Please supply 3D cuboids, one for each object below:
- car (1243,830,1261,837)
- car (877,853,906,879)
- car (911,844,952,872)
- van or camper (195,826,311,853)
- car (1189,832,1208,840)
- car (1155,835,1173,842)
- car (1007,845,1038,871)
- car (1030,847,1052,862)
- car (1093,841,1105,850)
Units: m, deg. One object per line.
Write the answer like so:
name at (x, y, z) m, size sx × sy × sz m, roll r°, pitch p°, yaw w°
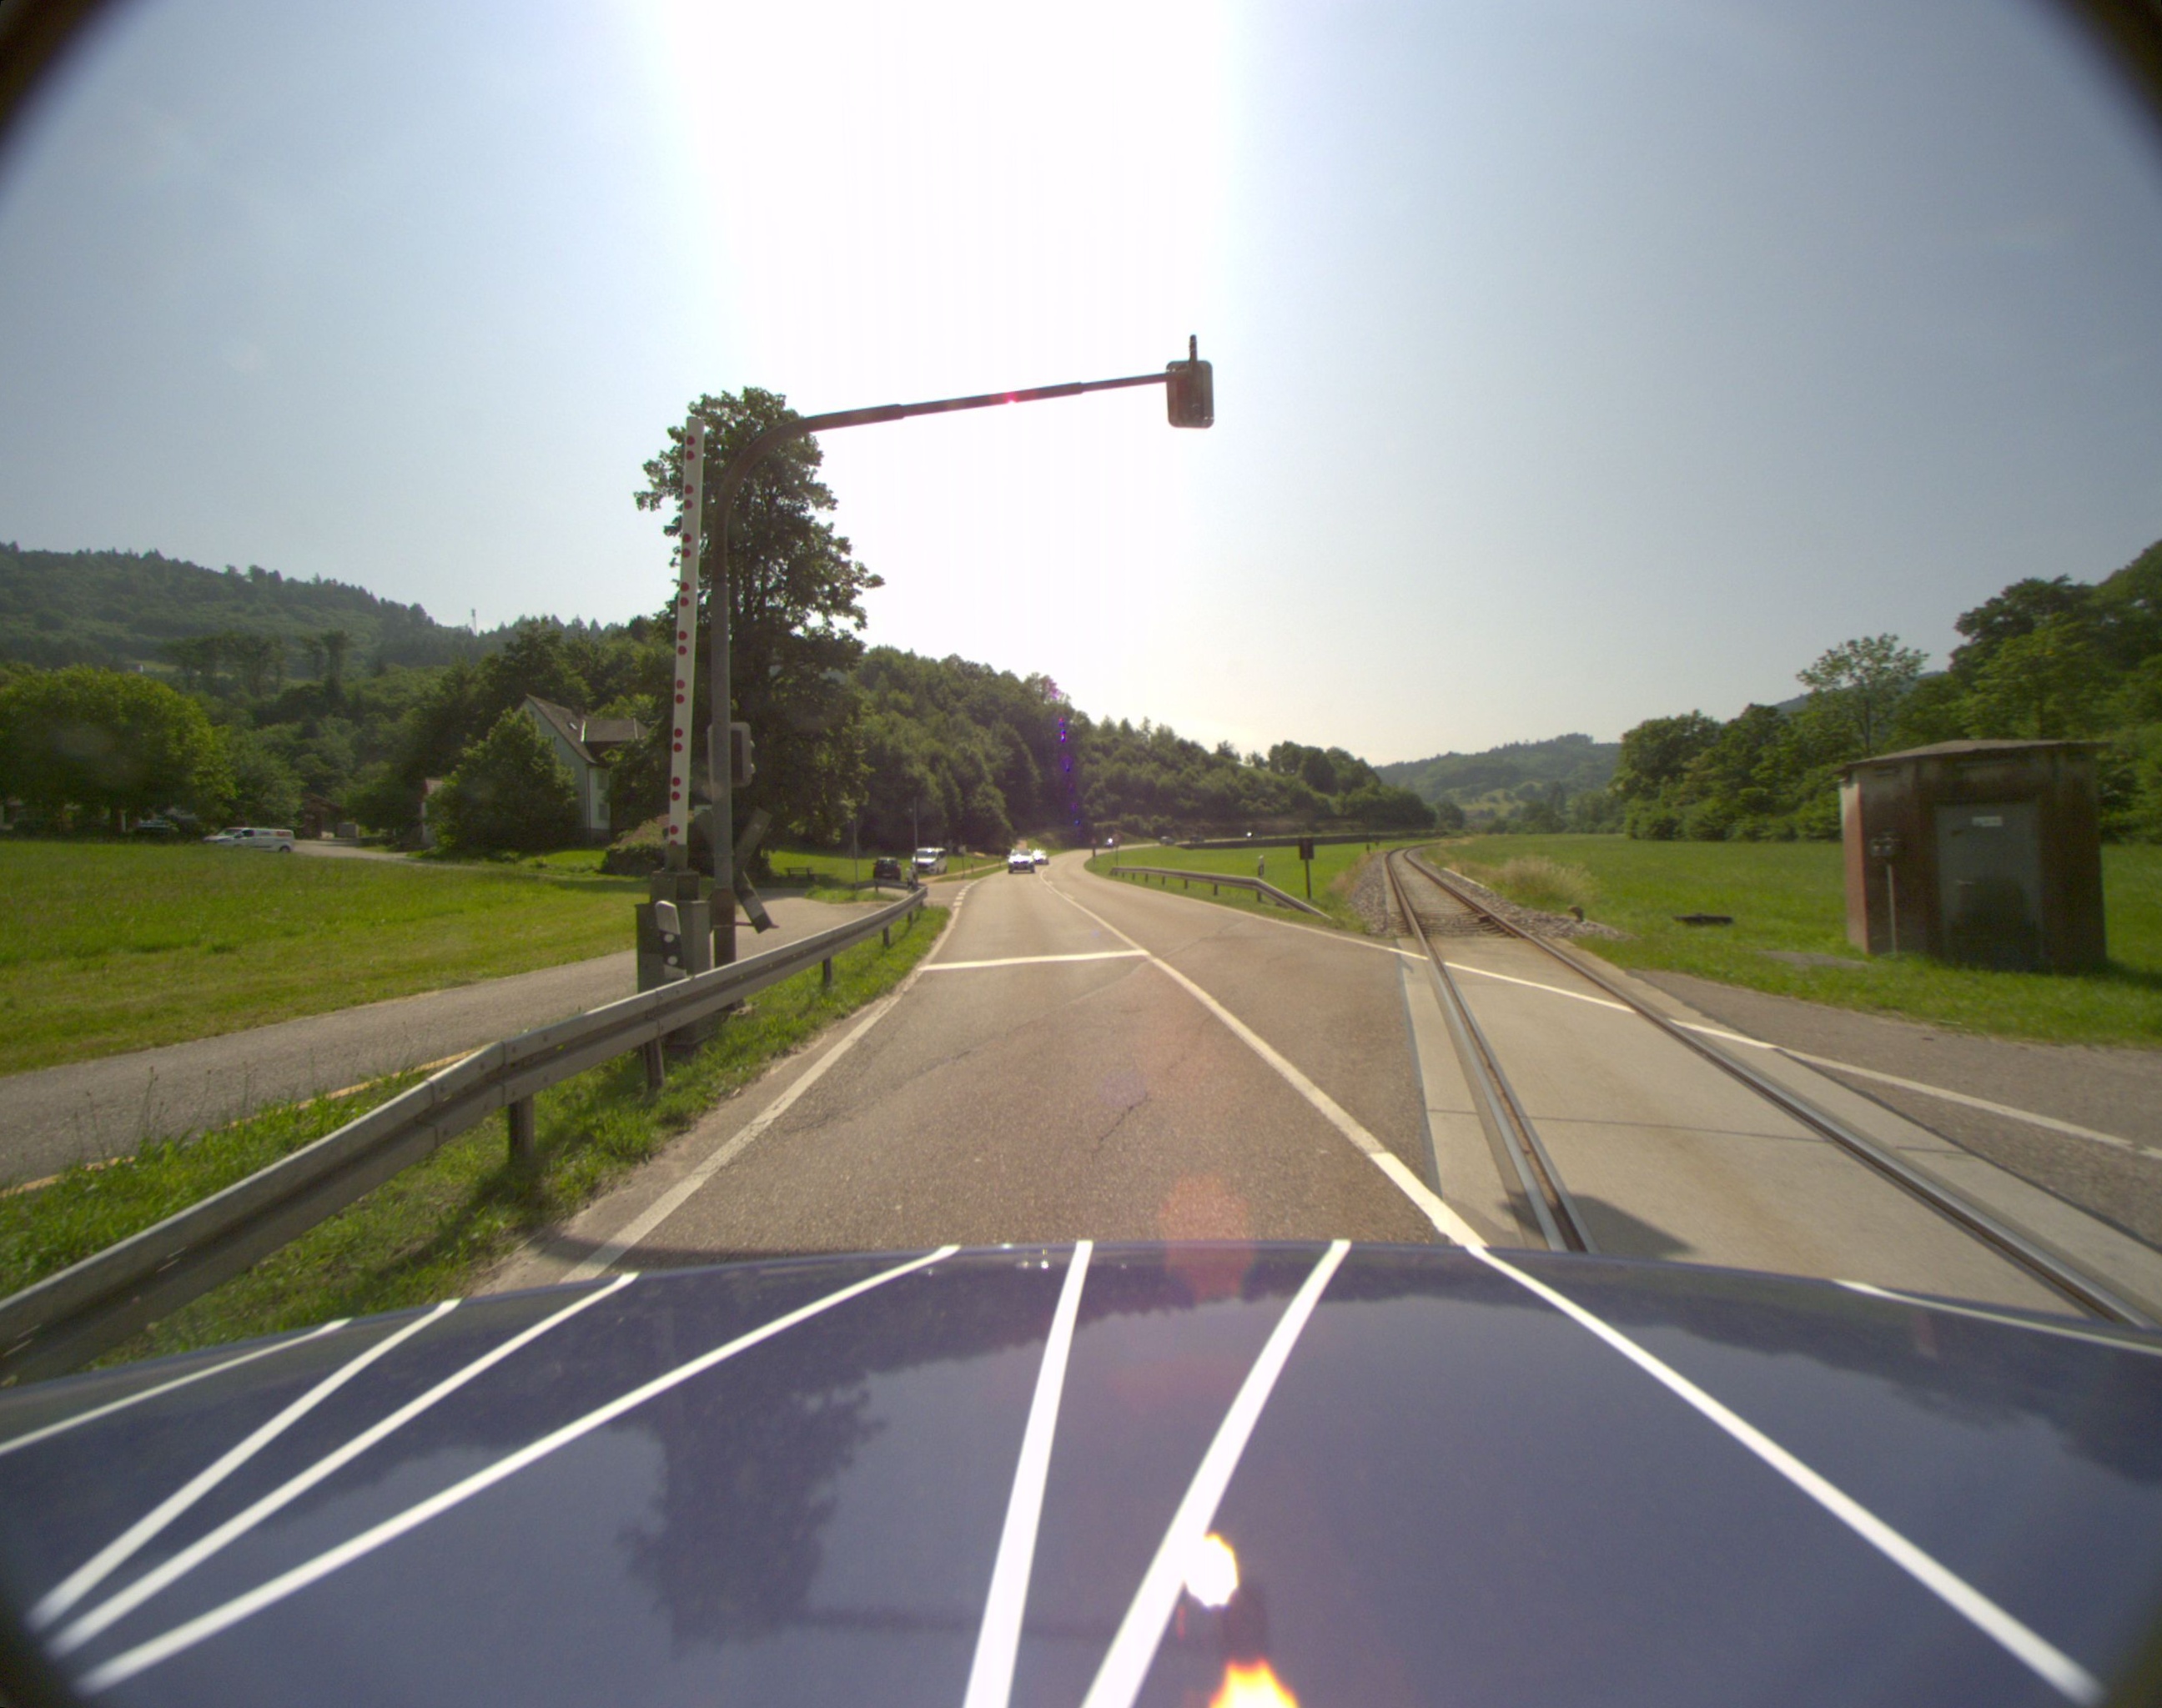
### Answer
car at (44.057, -5.330, 195.970) m, size 4.519 × 1.461 × 1.919 m, roll 0°, pitch -5°, yaw -34°
car at (-12.091, 0.743, 48.580) m, size 1.680 × 1.449 × 3.710 m, roll 0°, pitch 2°, yaw -13°
car at (-11.188, 0.272, 57.165) m, size 2.004 × 1.838 × 4.868 m, roll 4°, pitch 1°, yaw 1°
van or camper at (-62.821, -1.111, 57.827) m, size 2.816 × 1.938 × 5.435 m, roll -1°, pitch 1°, yaw 0°
car at (28.108, -4.341, 181.686) m, size 4.518 × 1.616 × 1.865 m, roll -5°, pitch 8°, yaw -44°
car at (18.852, -3.537, 173.005) m, size 1.916 × 1.704 × 4.168 m, roll 0°, pitch 2°, yaw 41°
car at (-4.423, 0.271, 57.132) m, size 2.119 × 1.804 × 4.452 m, roll -1°, pitch 1°, yaw -6°
car at (-4.220, 0.013, 79.729) m, size 2.147 × 1.482 × 4.669 m, roll -1°, pitch 1°, yaw -5°
car at (3.630, -1.695, 154.587) m, size 1.997 × 1.774 × 4.001 m, roll 0°, pitch 1°, yaw 7°
